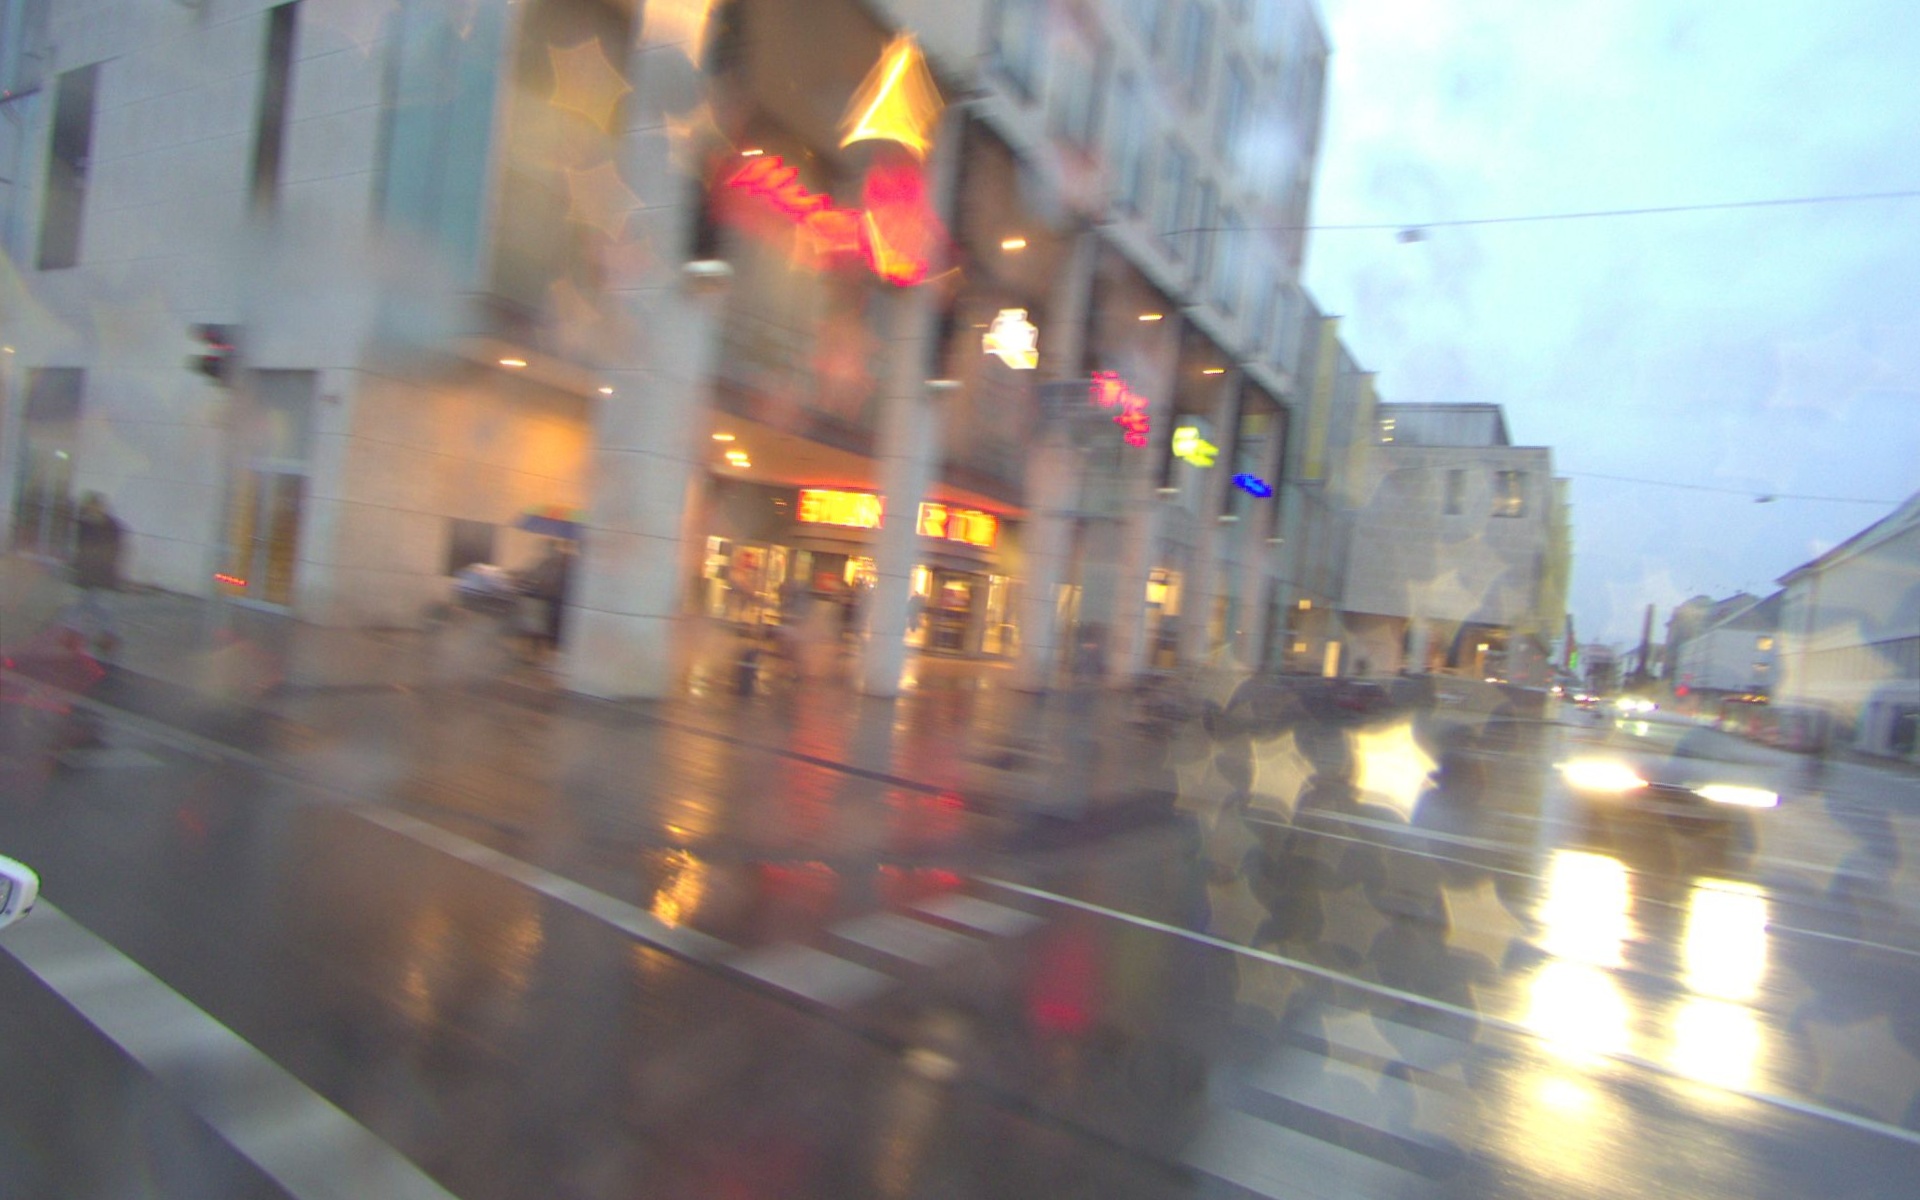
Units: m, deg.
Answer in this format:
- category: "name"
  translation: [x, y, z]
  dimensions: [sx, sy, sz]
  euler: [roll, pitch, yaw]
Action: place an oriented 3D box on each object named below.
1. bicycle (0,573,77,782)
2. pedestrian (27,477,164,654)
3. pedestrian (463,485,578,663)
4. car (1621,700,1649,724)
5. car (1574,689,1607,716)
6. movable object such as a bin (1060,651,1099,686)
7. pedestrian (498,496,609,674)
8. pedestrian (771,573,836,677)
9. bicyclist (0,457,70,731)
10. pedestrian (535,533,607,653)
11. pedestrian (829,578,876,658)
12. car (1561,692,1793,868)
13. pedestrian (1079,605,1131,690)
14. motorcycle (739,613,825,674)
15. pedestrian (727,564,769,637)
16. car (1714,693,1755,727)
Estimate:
- category: "bicycle"
  translation: [-5.980, 0.317, 5.631]
  dimensions: [2.204, 1.011, 0.944]
  euler: [7, -1, 34]
- category: "pedestrian"
  translation: [-9.011, -0.349, 10.498]
  dimensions: [0.710, 1.717, 0.707]
  euler: [8, 2, 17]
- category: "pedestrian"
  translation: [-5.845, -0.330, 13.405]
  dimensions: [0.701, 2.219, 0.958]
  euler: [8, 0, 40]
- category: "car"
  translation: [59.759, 9.870, 89.091]
  dimensions: [1.874, 1.706, 3.925]
  euler: [7, 0, 34]
- category: "car"
  translation: [47.487, 7.703, 75.746]
  dimensions: [1.874, 1.706, 3.925]
  euler: [7, 0, 34]
- category: "movable object such as a bin"
  translation: [2.894, 1.655, 24.395]
  dimensions: [0.591, 0.714, 0.653]
  euler: [8, 0, -27]
- category: "pedestrian"
  translation: [-5.297, -0.179, 13.139]
  dimensions: [0.572, 2.188, 0.963]
  euler: [8, 0, 40]
- category: "pedestrian"
  translation: [-2.597, 0.424, 16.755]
  dimensions: [0.492, 1.627, 0.779]
  euler: [8, 0, 29]
- category: "bicyclist"
  translation: [-5.752, -0.104, 5.513]
  dimensions: [1.049, 1.480, 0.944]
  euler: [8, 0, 33]
- category: "pedestrian"
  translation: [-6.285, -0.108, 16.265]
  dimensions: [0.613, 1.827, 0.616]
  euler: [8, 0, 29]
- category: "pedestrian"
  translation: [-2.473, 0.403, 23.113]
  dimensions: [0.613, 1.723, 0.616]
  euler: [8, 0, -44]
- category: "car"
  translation: [8.608, 2.040, 12.419]
  dimensions: [1.826, 1.510, 3.821]
  euler: [6, -1, 30]
- category: "pedestrian"
  translation: [3.542, 1.155, 24.643]
  dimensions: [0.621, 1.931, 0.835]
  euler: [8, 0, -29]
- category: "motorcycle"
  translation: [-2.979, 0.747, 16.986]
  dimensions: [0.388, 0.900, 1.636]
  euler: [8, -1, 29]
- category: "pedestrian"
  translation: [-5.200, 0.018, 24.710]
  dimensions: [0.612, 1.693, 0.617]
  euler: [8, 0, 8]
- category: "car"
  translation: [65.123, 9.269, 84.668]
  dimensions: [1.936, 2.529, 3.995]
  euler: [8, -1, 30]
